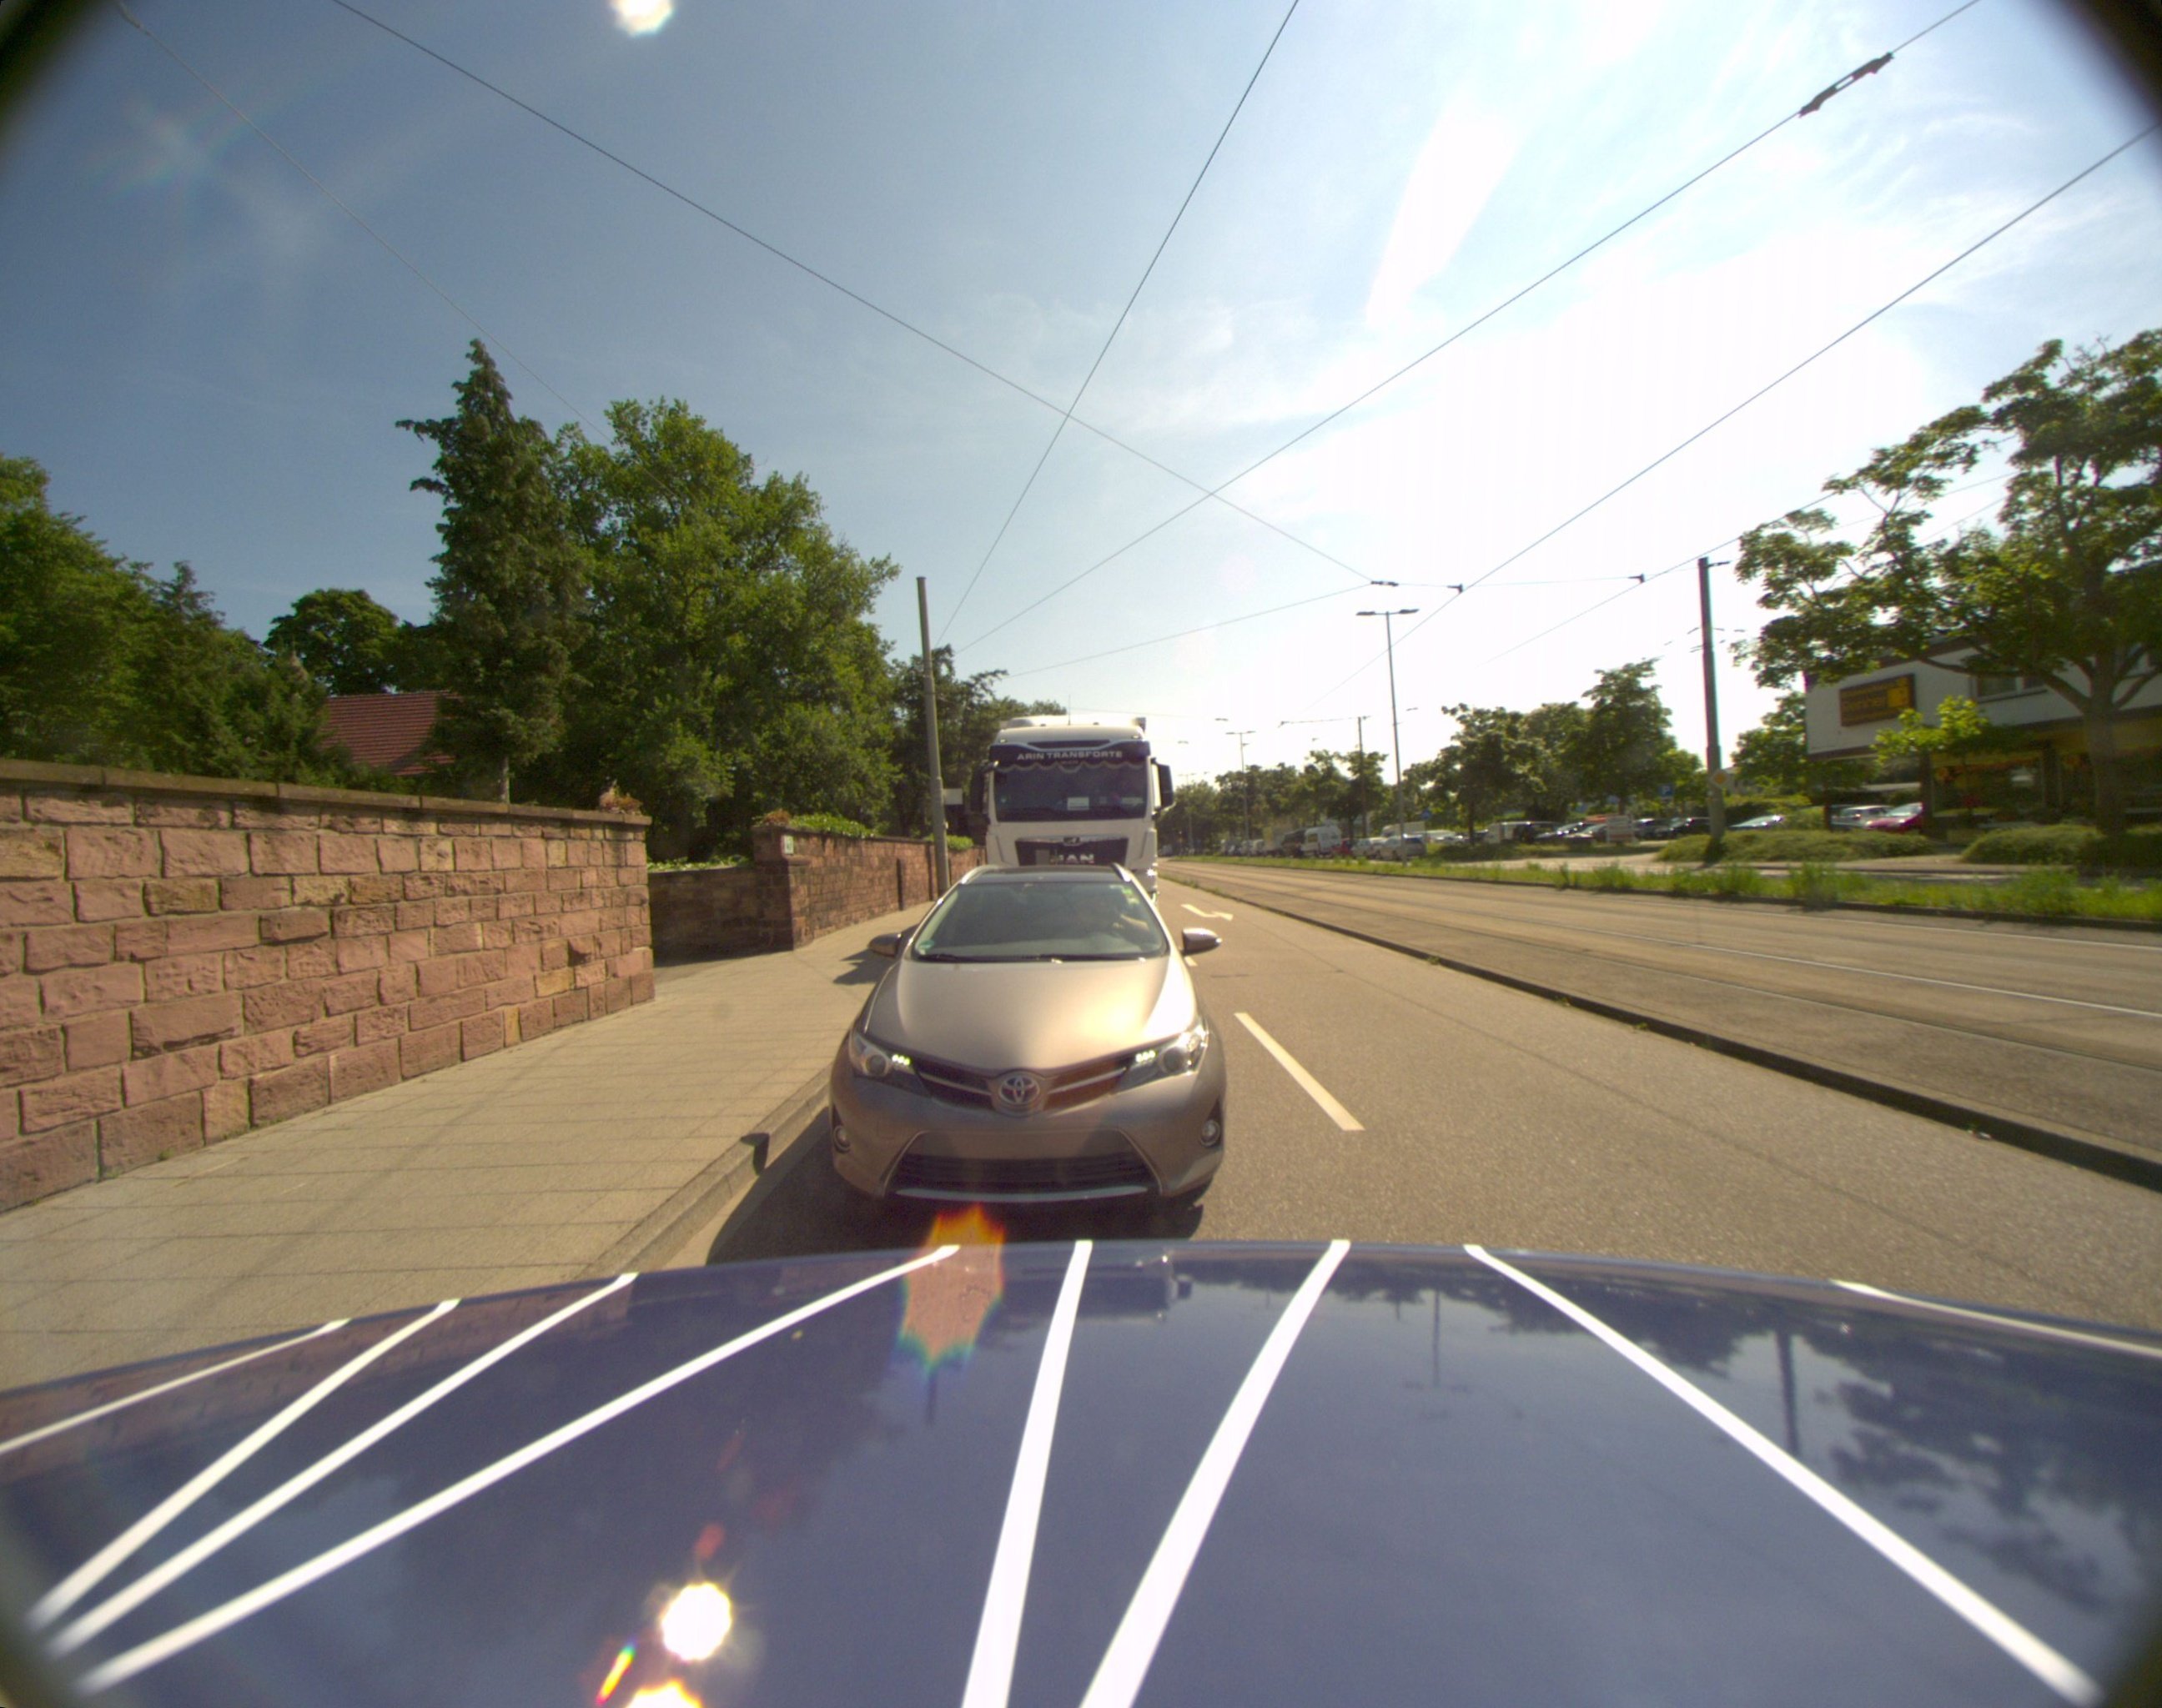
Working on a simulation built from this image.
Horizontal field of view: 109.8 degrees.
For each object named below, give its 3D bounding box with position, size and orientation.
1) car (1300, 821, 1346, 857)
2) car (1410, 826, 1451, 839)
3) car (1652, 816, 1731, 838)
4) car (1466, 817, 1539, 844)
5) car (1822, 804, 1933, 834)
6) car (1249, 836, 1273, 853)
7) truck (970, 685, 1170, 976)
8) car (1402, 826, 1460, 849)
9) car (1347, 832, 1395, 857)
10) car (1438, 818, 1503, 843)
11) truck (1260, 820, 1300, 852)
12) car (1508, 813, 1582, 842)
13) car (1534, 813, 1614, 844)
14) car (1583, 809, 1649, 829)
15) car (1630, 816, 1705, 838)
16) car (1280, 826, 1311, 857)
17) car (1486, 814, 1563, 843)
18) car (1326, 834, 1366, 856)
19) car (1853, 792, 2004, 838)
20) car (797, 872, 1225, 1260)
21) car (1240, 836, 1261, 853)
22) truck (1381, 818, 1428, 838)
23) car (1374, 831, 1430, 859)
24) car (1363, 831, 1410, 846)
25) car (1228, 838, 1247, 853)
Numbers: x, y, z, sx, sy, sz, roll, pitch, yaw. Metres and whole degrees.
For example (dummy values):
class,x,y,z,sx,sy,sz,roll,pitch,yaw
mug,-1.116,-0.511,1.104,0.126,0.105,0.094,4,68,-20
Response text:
class,x,y,z,sx,sy,sz,roll,pitch,yaw
car,20.284,-1.229,63.994,2.062,2.638,5.203,-6,0,1
car,43.737,-2.630,95.114,4.253,1.327,1.676,-3,0,1
car,44.068,-1.925,54.916,4.252,1.327,1.676,-3,0,2
car,30.535,-1.687,55.144,4.117,1.728,1.990,-3,1,-2
car,44.203,-1.928,42.204,4.252,1.327,1.676,-3,0,2
car,20.655,-1.054,87.387,1.502,1.793,4.633,-6,0,1
truck,-0.060,-0.371,15.057,2.628,3.906,9.285,-2,1,1
car,31.170,-1.405,67.885,2.594,1.800,5.741,-3,0,2
car,20.447,-0.630,53.662,1.675,1.524,4.256,-6,0,1
car,31.232,-1.865,60.982,4.117,1.728,1.990,-3,1,-2
truck,20.567,-1.803,78.729,2.508,2.917,5.903,-6,0,2
car,30.578,-1.719,50.129,3.810,1.625,1.676,-3,1,2
car,30.517,-1.567,47.121,3.810,1.625,1.676,-3,1,2
car,44.008,-2.853,62.519,4.254,1.327,1.676,-3,0,-1
car,44.218,-2.034,57.383,4.252,1.327,1.676,-3,0,2
car,19.825,-1.124,70.416,1.502,2.609,4.007,-6,0,1
car,30.695,-1.775,52.673,4.117,1.728,1.990,-3,1,-2
car,20.474,-0.695,58.759,1.675,1.524,3.793,-6,0,1
car,35.263,-1.585,31.687,4.252,1.595,1.676,-3,1,2
car,-0.258,0.894,5.019,1.654,1.374,4.000,-2,0,1
car,20.965,-1.170,94.224,1.502,1.835,4.059,-6,0,0
truck,44.765,-3.566,105.168,5.652,2.367,1.990,-3,1,-2
car,20.290,-0.538,48.175,1.675,1.524,4.256,-6,0,1
car,32.317,-1.598,80.402,4.253,1.327,1.676,-3,0,1
car,20.622,-1.093,100.077,1.502,1.775,3.687,-6,0,0
